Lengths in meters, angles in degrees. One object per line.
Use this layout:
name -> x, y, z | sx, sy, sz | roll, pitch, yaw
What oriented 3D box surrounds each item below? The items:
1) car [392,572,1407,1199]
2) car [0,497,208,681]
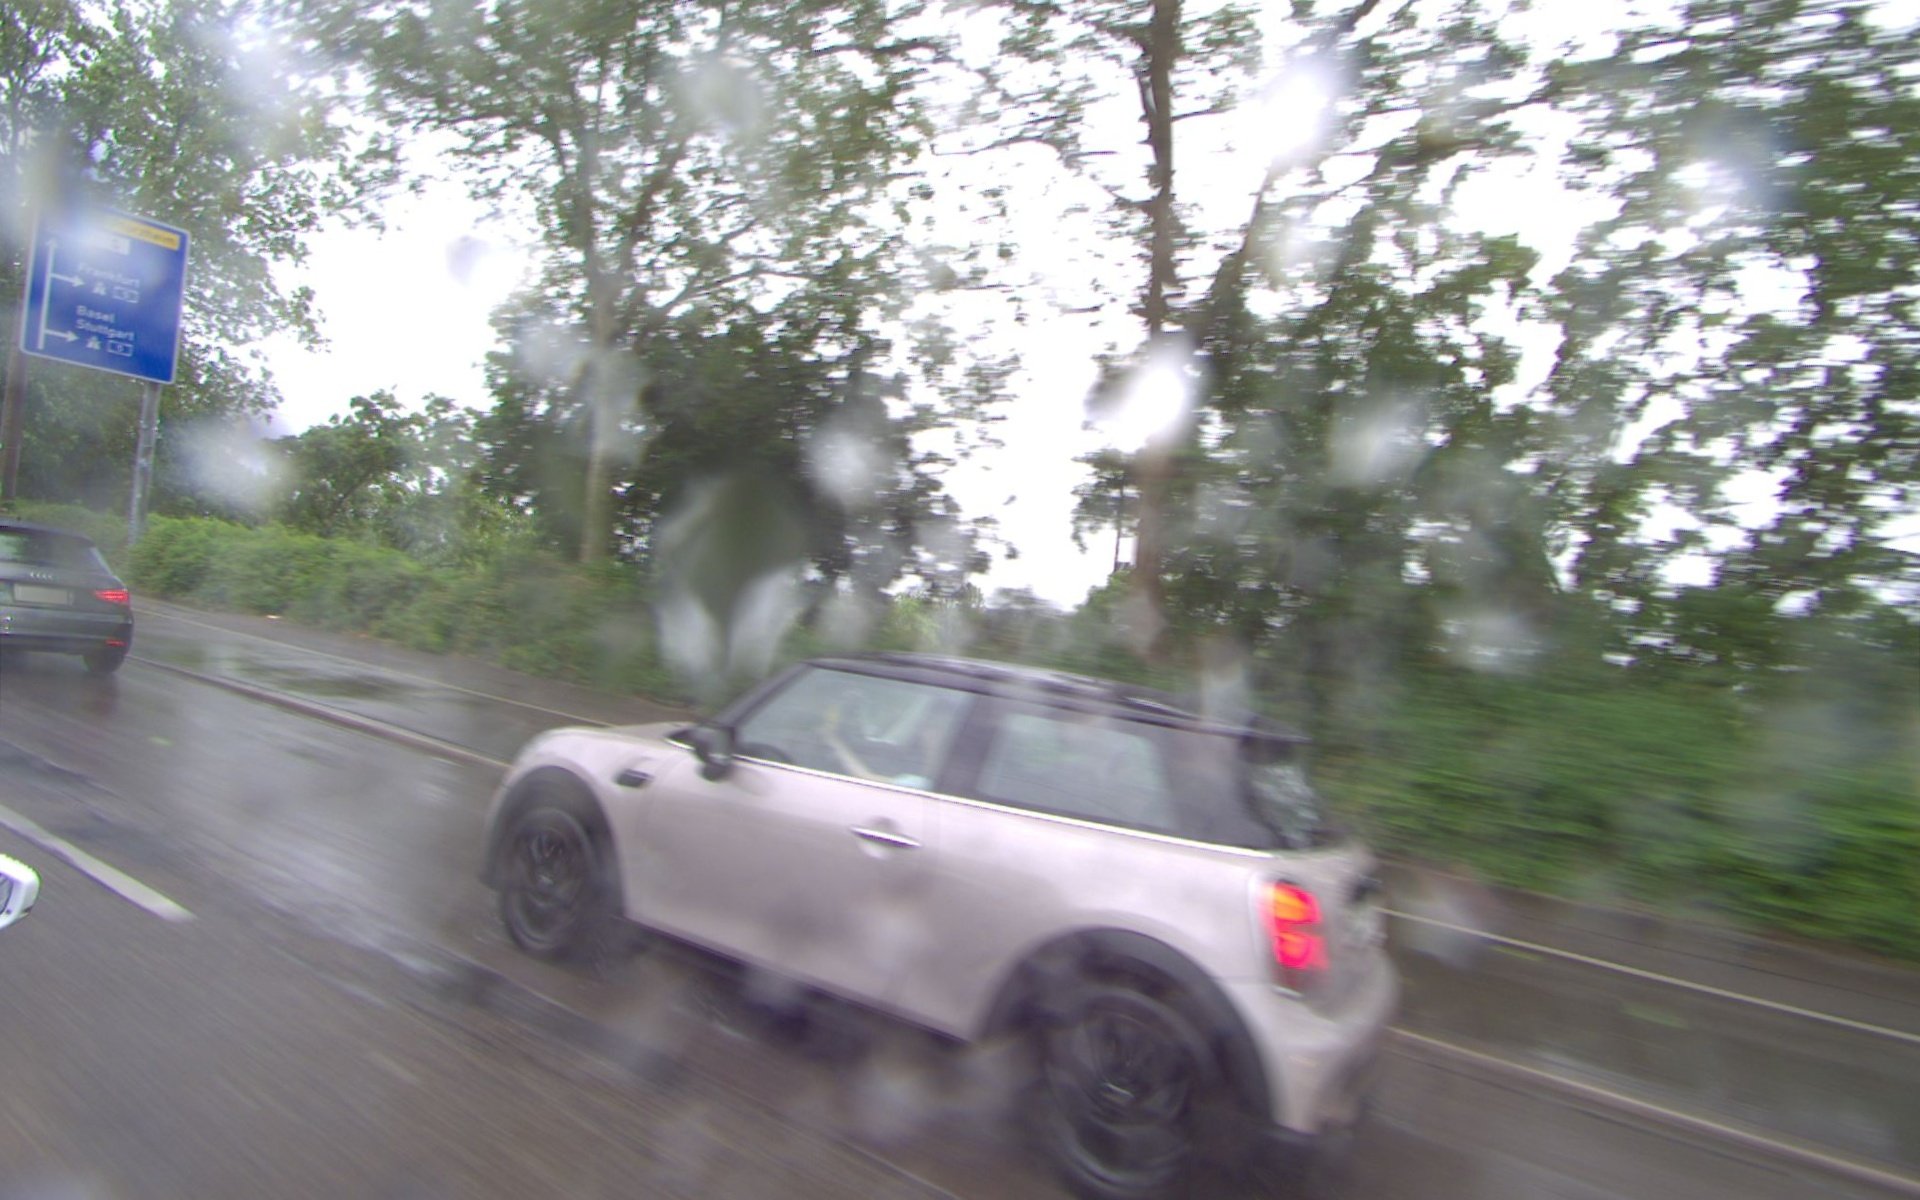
car -> -0.335, 0.855, 4.244 | 3.790, 1.428, 1.797 | 5, -5, 31
car -> -9.788, -0.269, 10.221 | 3.924, 1.546, 1.972 | 7, -2, 31
